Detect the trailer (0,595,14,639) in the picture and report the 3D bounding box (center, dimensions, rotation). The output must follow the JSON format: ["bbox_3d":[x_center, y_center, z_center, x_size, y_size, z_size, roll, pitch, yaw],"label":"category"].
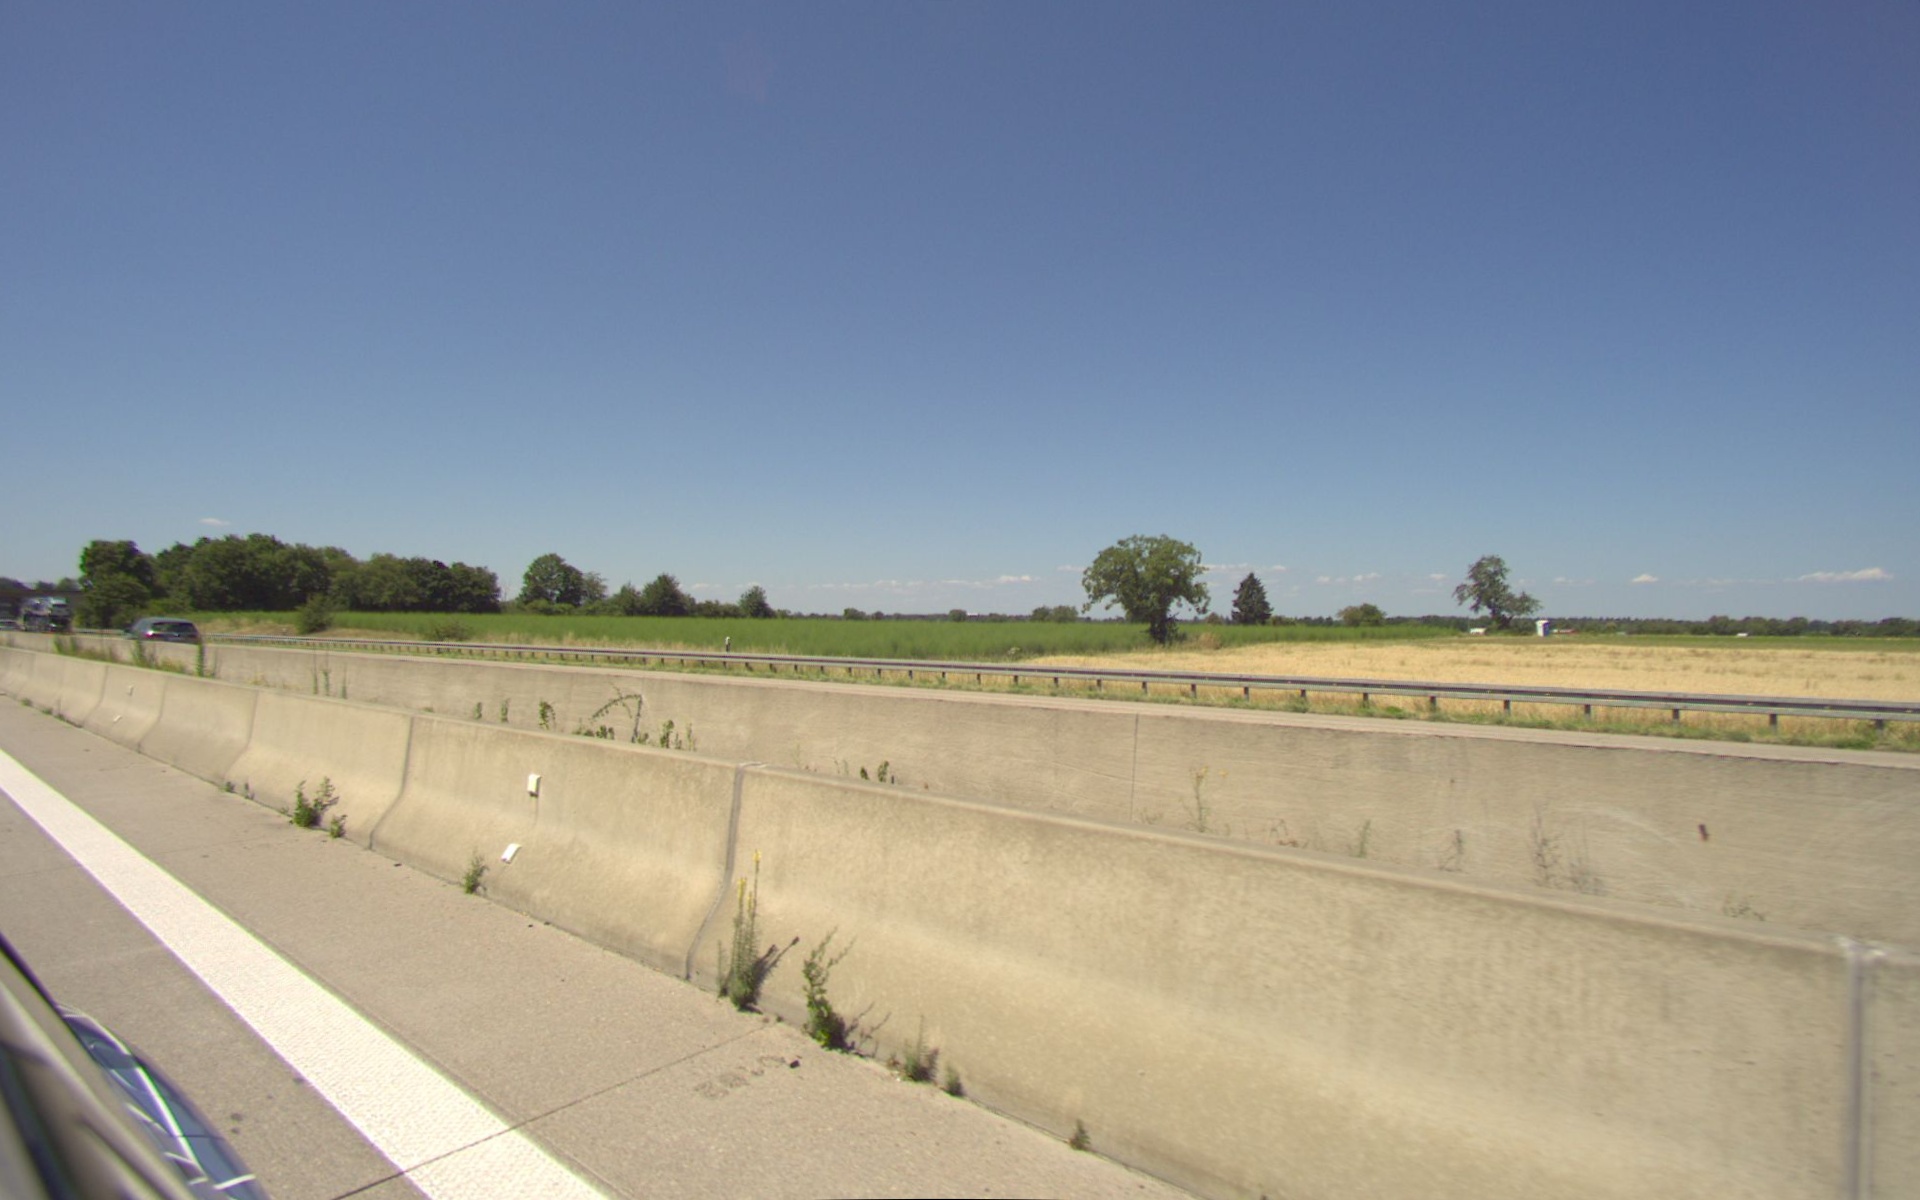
[{"bbox_3d":[-104.957,1.861,108.821,14.444,4.510,3.233,-1,-3,41],"label":"trailer"}]

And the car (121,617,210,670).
[{"bbox_3d":[-28.358,1.504,36.079,4.140,1.742,1.843,-1,0,43],"label":"car"}]

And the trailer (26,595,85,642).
[{"bbox_3d":[-95.063,1.916,106.259,12.288,4.641,3.198,-1,0,41],"label":"trailer"}]

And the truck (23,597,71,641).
[{"bbox_3d":[-99.513,2.055,110.249,6.247,4.641,3.198,-1,0,41],"label":"truck"}]

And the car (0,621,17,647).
[{"bbox_3d":[-67.754,2.383,70.977,4.680,1.708,1.862,-1,0,41],"label":"car"}]
